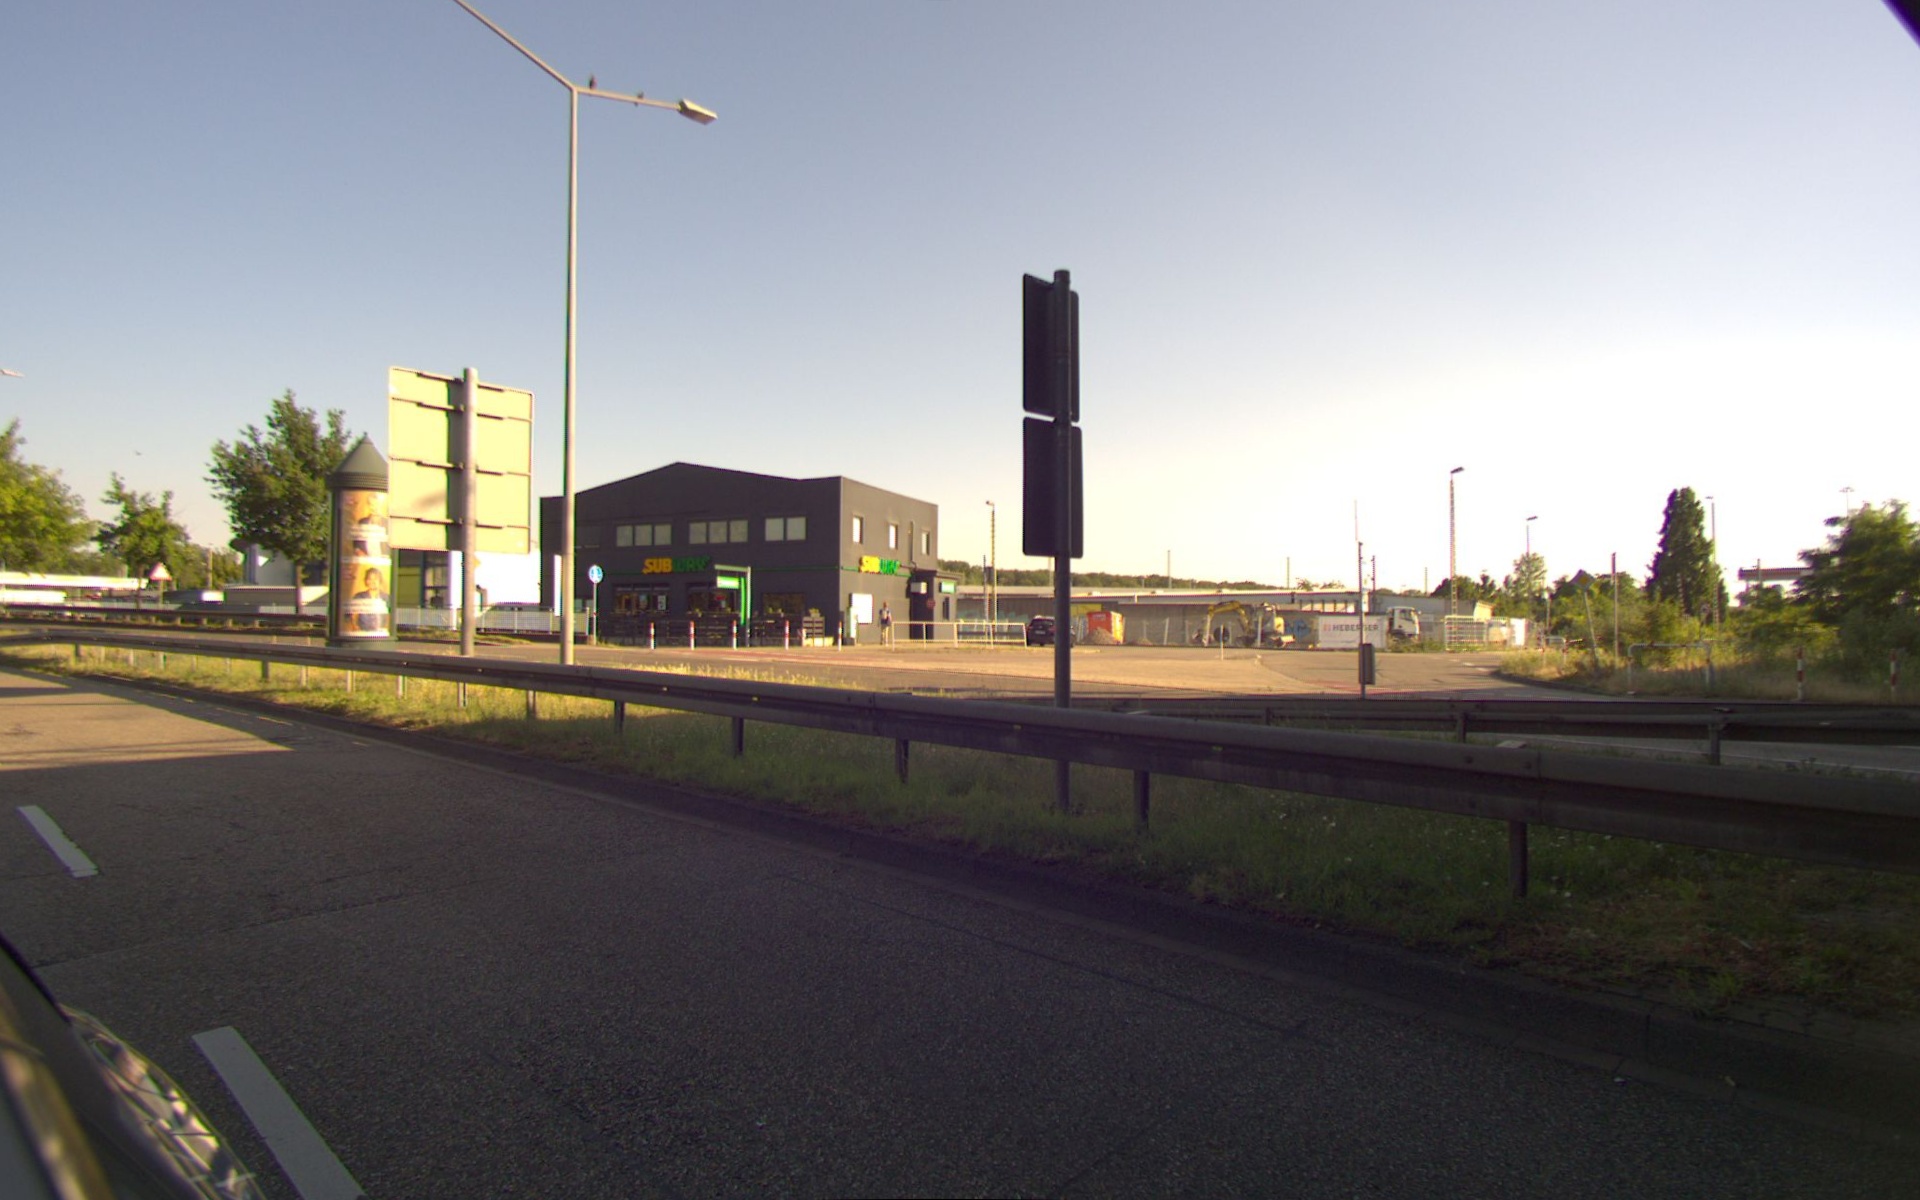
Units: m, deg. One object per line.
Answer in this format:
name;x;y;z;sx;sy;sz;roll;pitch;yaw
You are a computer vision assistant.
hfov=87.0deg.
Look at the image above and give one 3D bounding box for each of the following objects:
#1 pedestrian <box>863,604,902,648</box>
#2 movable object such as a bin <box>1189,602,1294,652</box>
pedestrian;-3.373;1.108;44.030;1.085;1.849;1.257;-1;0;43
movable object such as a bin;19.190;1.803;69.053;6.591;3.241;2.426;-1;0;25
